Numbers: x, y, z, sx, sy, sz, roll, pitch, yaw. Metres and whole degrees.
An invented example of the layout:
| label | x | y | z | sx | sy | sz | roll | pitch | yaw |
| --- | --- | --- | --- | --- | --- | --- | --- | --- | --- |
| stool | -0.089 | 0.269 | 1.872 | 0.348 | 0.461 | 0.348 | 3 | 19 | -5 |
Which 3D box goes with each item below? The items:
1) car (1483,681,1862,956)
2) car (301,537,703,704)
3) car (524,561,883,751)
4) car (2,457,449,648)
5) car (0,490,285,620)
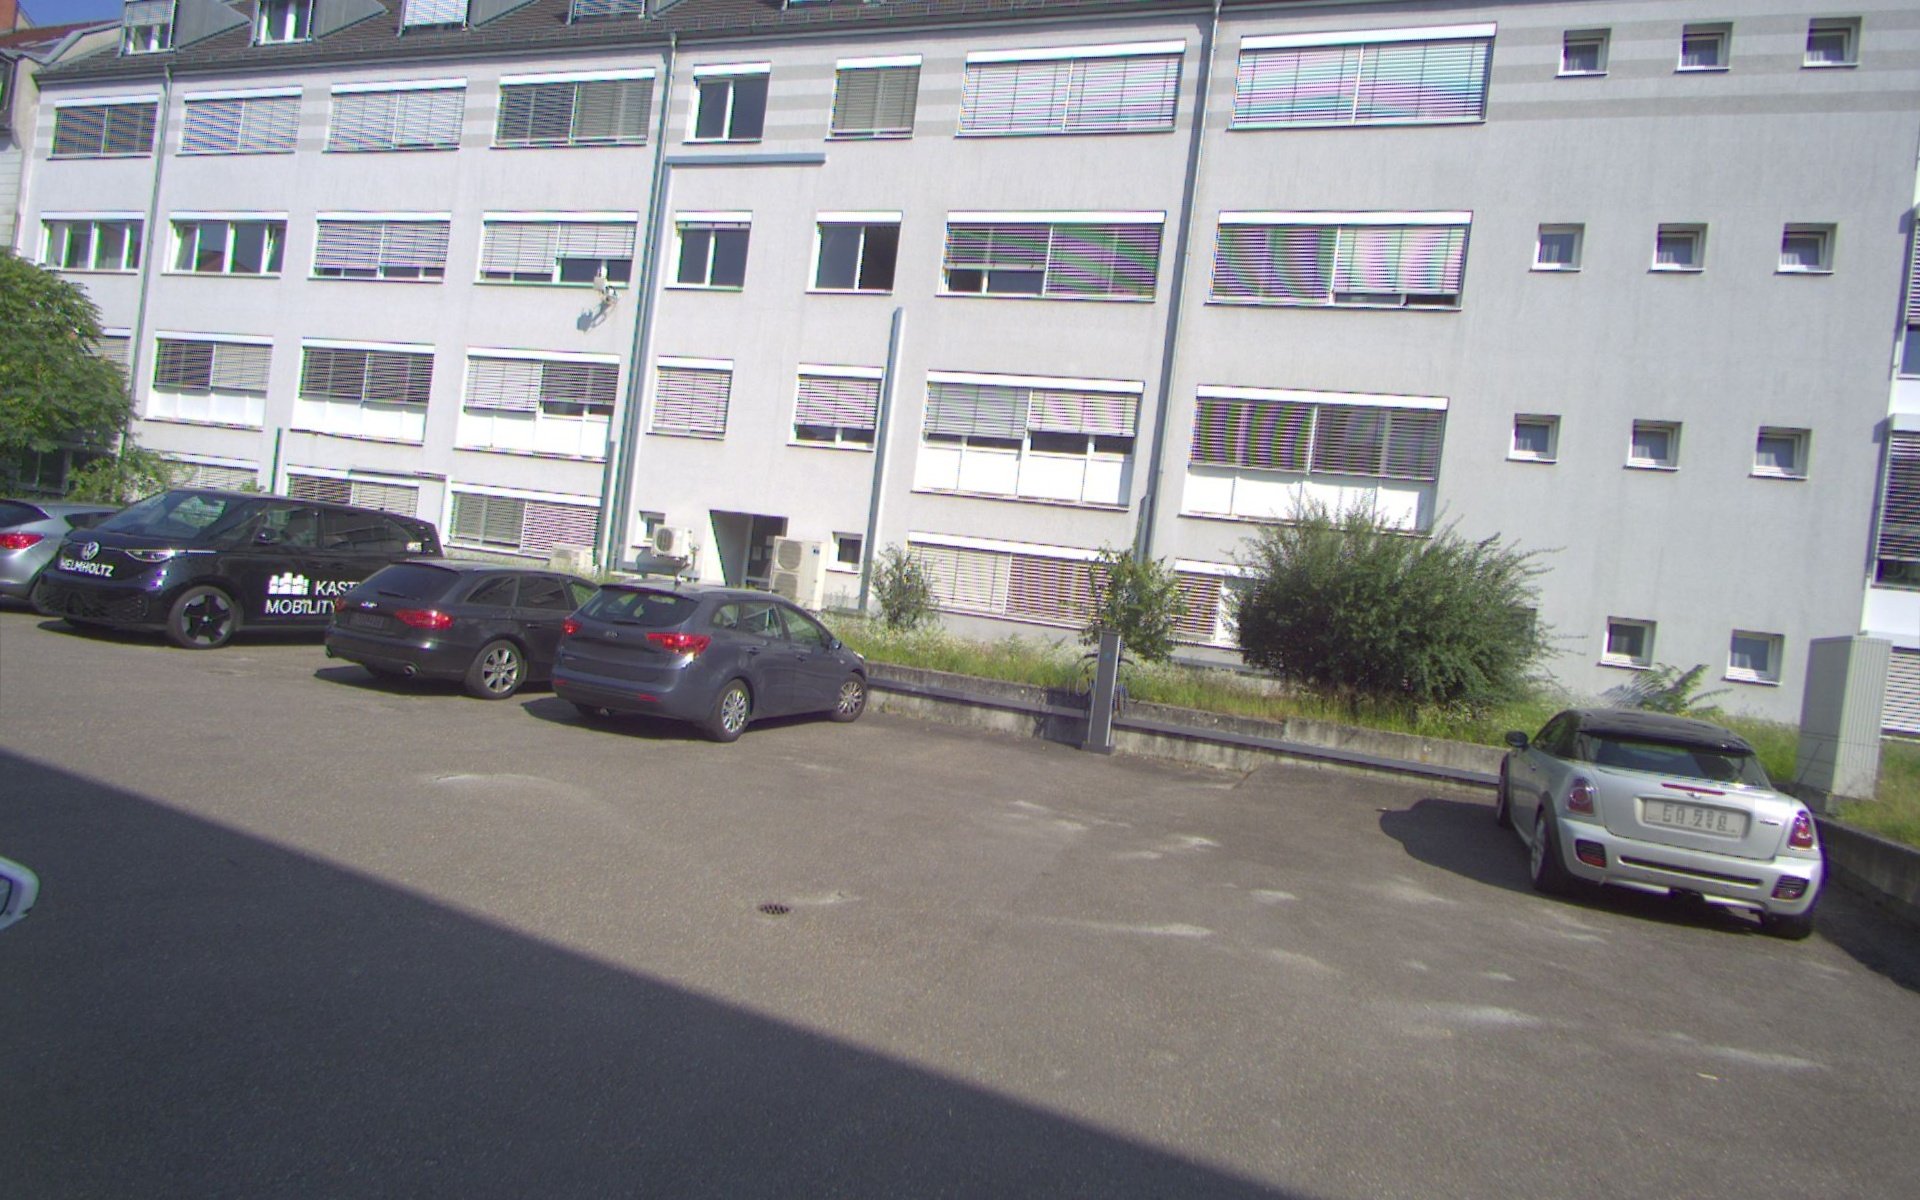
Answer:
| label | x | y | z | sx | sy | sz | roll | pitch | yaw |
| --- | --- | --- | --- | --- | --- | --- | --- | --- | --- |
| car | 5.607 | 1.570 | 8.446 | 1.628 | 1.455 | 3.581 | 8 | 0 | 22 |
| car | -5.119 | 0.298 | 11.951 | 1.659 | 1.455 | 4.245 | 8 | 0 | 22 |
| car | -2.531 | 0.583 | 11.047 | 1.710 | 1.496 | 4.060 | 8 | 0 | 20 |
| car | -9.146 | -0.461 | 13.091 | 1.878 | 1.882 | 4.351 | 8 | 0 | 15 |
| car | -11.849 | -0.592 | 14.045 | 1.631 | 1.484 | 3.911 | 8 | 0 | 11 |
